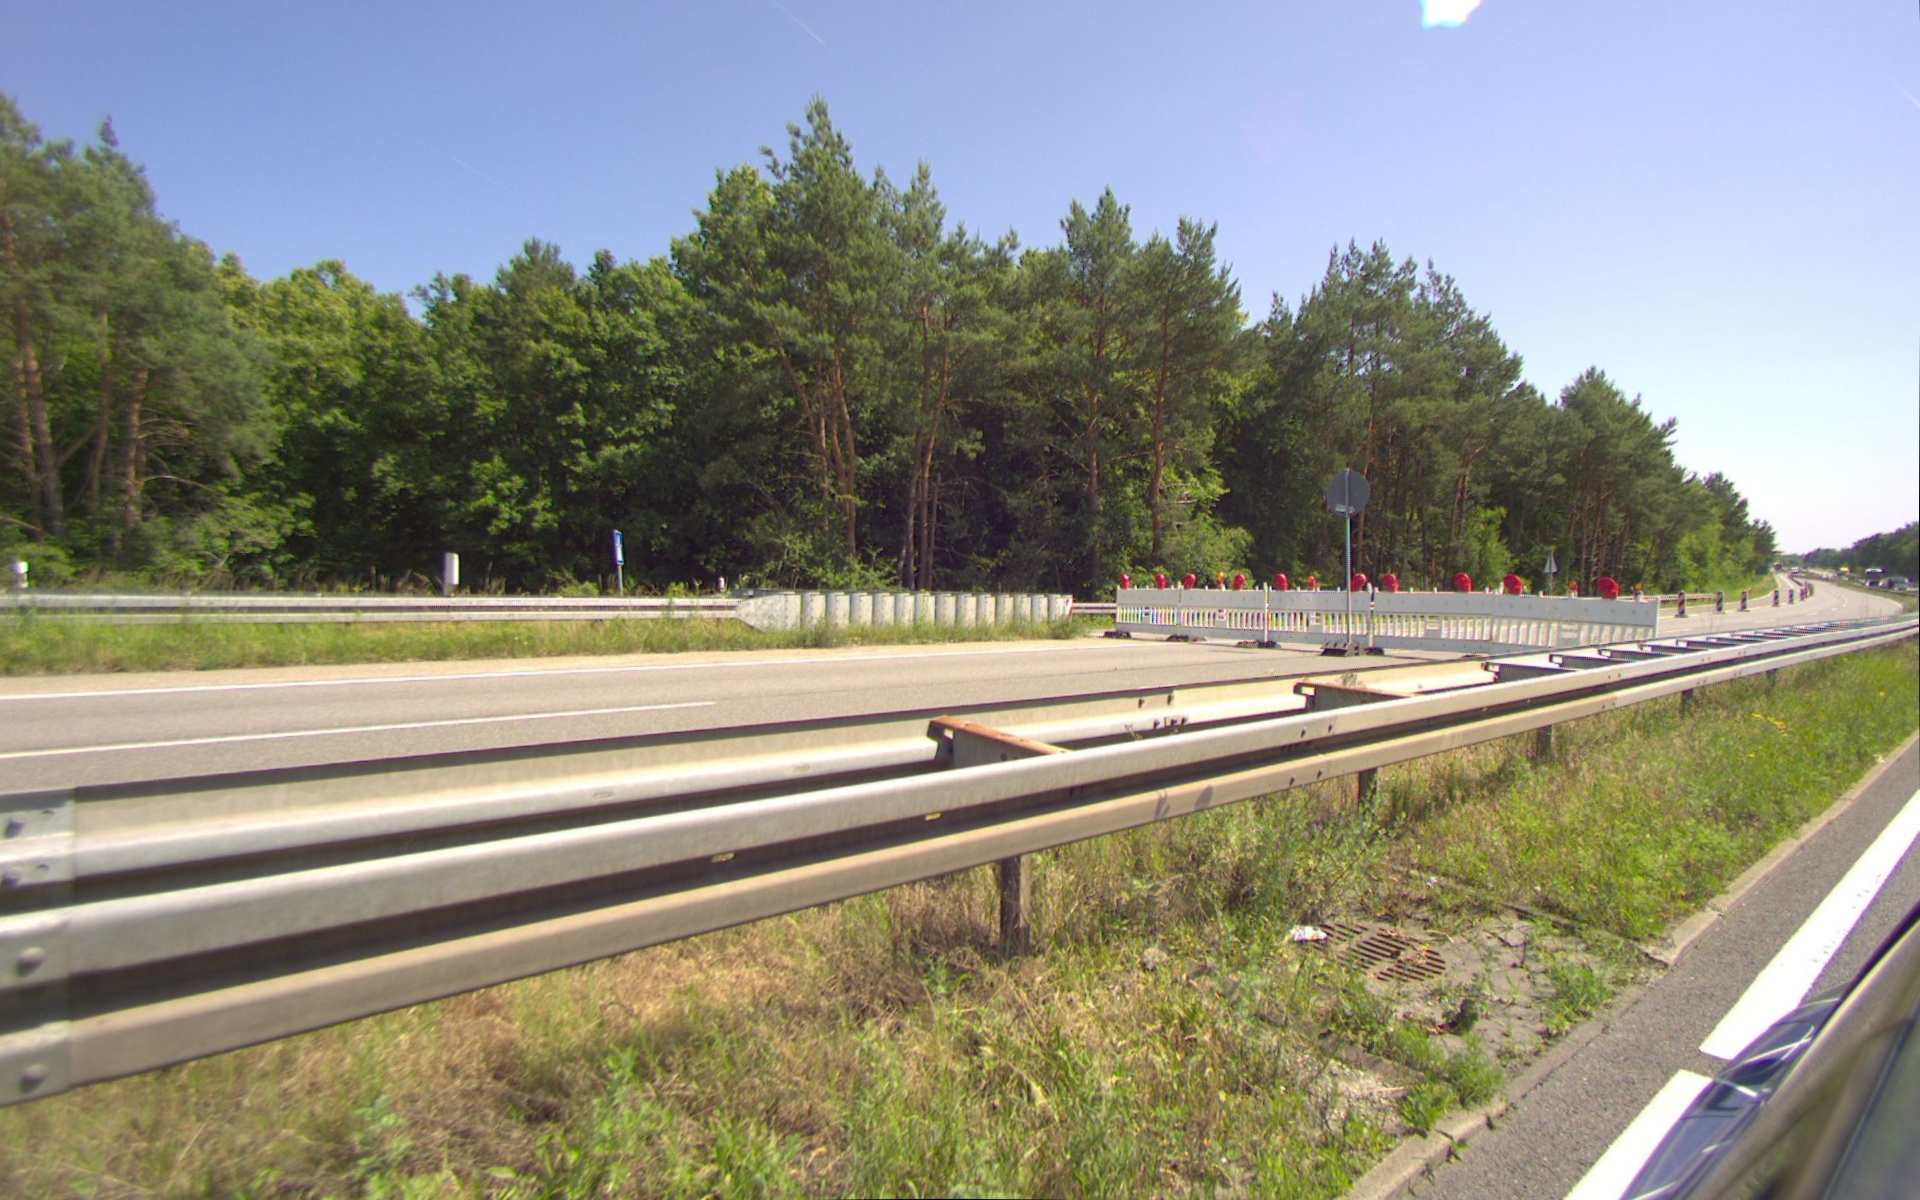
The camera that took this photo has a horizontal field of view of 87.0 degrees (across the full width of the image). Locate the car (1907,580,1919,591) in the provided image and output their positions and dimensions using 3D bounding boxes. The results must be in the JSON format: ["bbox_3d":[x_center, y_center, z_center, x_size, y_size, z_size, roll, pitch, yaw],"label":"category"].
[{"bbox_3d":[148.503,-2.313,157.404,1.522,1.677,3.921,2,2,41],"label":"car"}]
